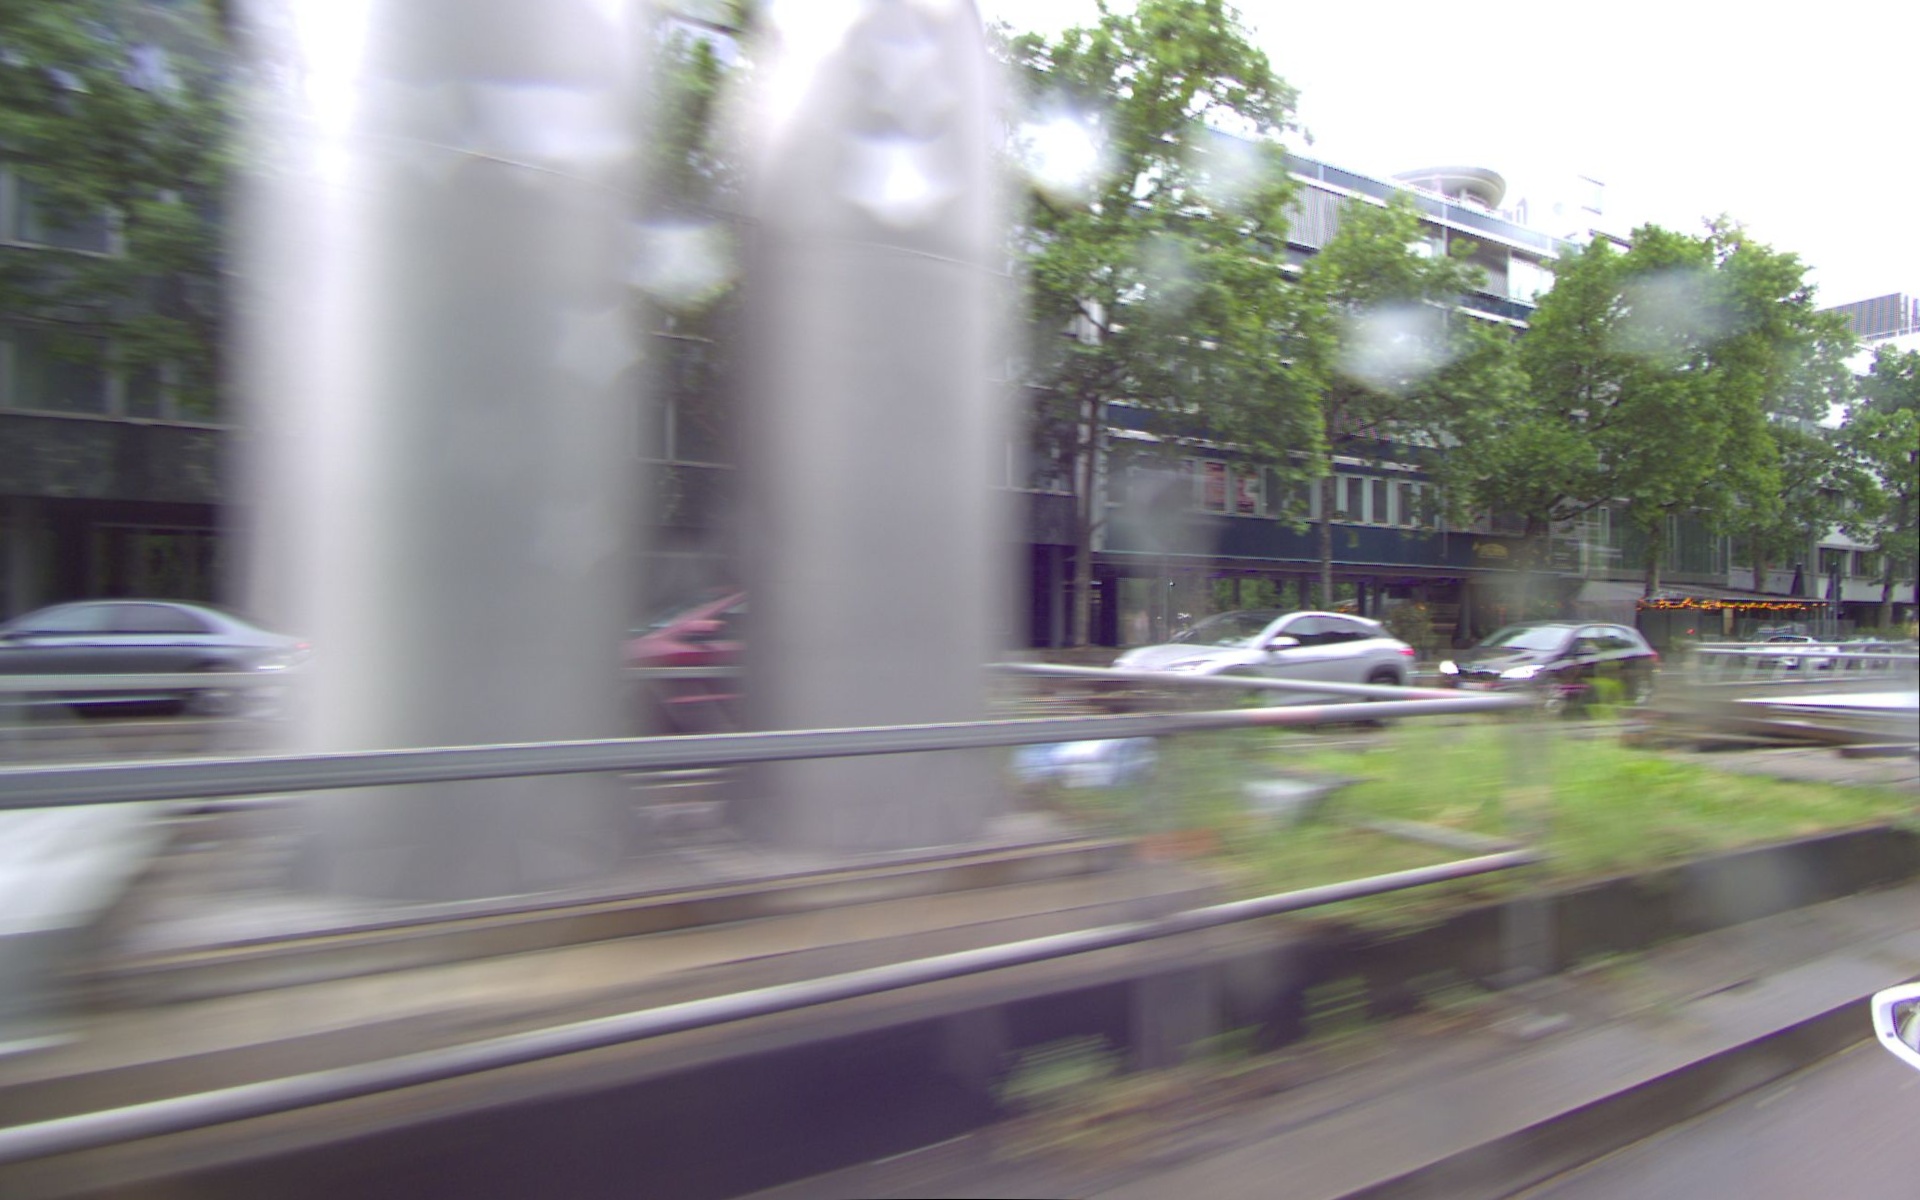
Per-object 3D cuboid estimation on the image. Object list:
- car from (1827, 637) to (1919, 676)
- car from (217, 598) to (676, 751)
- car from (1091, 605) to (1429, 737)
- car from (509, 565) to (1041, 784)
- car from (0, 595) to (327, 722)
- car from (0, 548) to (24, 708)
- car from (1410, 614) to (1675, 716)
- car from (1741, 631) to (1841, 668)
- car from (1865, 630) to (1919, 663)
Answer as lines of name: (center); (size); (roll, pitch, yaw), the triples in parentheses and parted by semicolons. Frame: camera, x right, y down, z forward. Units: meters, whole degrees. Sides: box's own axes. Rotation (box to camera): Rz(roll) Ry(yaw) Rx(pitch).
car: (38.390, 2.345, 42.132); (3.952, 1.528, 1.829); (1, -1, -29)
car: (-5.849, 0.781, 11.860); (4.518, 1.511, 1.710); (1, -1, -32)
car: (4.289, 0.908, 14.129); (4.772, 1.594, 1.727); (1, -1, -29)
car: (-1.754, 0.656, 10.296); (5.051, 1.790, 1.826); (1, -1, -31)
car: (-10.809, 0.678, 12.835); (4.536, 1.466, 1.881); (0, 0, -32)
car: (-11.123, 0.227, 8.801); (3.956, 1.586, 1.743); (2, -1, -32)
car: (10.171, 1.058, 17.500); (4.483, 1.573, 1.907); (1, -1, -27)
car: (33.787, 1.965, 40.817); (4.626, 1.371, 1.552); (1, 0, -29)
car: (43.730, 2.136, 46.287); (4.402, 1.428, 1.685); (1, -1, -30)
